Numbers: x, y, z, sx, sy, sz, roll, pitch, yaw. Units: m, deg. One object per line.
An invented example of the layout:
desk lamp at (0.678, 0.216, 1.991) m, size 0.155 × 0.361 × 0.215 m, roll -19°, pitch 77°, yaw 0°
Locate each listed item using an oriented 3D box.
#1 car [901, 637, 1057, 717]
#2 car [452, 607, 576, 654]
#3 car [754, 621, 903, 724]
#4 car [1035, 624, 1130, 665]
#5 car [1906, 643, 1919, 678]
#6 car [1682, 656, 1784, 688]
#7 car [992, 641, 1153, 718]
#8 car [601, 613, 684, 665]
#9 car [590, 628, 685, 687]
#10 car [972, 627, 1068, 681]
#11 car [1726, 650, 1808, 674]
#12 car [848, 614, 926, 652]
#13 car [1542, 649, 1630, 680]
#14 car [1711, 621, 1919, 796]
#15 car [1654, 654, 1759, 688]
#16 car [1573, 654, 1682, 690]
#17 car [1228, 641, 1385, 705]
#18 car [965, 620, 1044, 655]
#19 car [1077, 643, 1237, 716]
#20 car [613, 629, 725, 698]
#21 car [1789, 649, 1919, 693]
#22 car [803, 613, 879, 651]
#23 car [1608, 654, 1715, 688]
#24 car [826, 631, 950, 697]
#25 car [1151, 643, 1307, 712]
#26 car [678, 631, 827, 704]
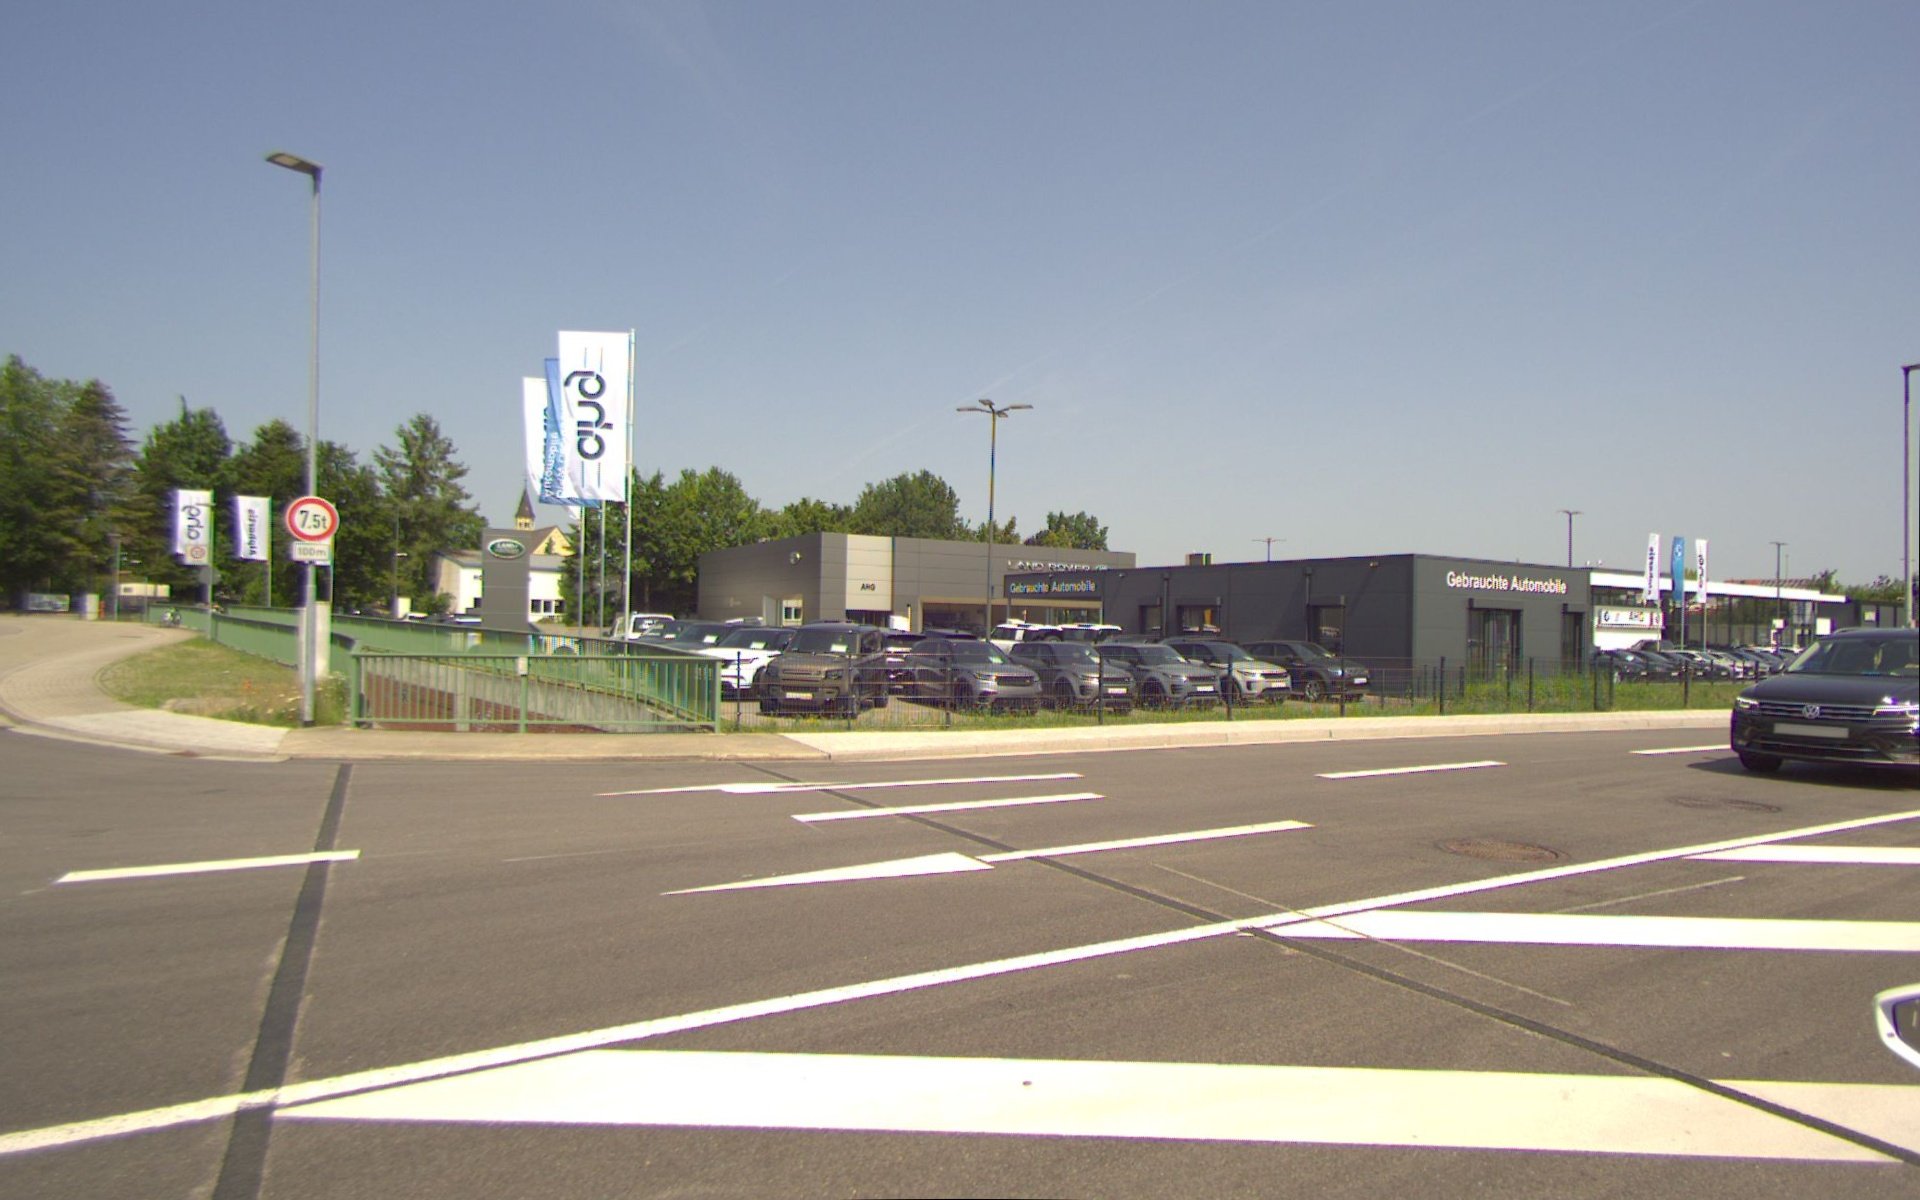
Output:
car at (0.361, 1.738, 23.759) m, size 1.865 × 1.653 × 3.966 m, roll 1°, pitch -2°, yaw -31°
car at (-17.193, 1.176, 38.860) m, size 4.259 × 1.757 × 1.955 m, roll 1°, pitch -1°, yaw -25°
car at (-2.698, 1.455, 21.883) m, size 2.024 × 1.889 × 4.683 m, roll 3°, pitch -1°, yaw 7°
car at (4.693, 1.687, 38.964) m, size 1.667 × 1.440 × 3.817 m, roll 1°, pitch -1°, yaw -31°
car at (45.178, 2.747, 44.845) m, size 1.795 × 1.554 × 3.966 m, roll 1°, pitch -2°, yaw -31°
car at (40.904, 3.787, 53.235) m, size 1.795 × 1.514 × 3.966 m, roll 1°, pitch -2°, yaw -31°
car at (2.689, 1.886, 24.853) m, size 1.955 × 1.653 × 3.966 m, roll 1°, pitch -2°, yaw -31°
car at (-11.689, 1.396, 36.795) m, size 1.945 × 1.757 × 4.281 m, roll 1°, pitch -1°, yaw -31°
car at (-10.105, 1.737, 31.307) m, size 1.955 × 1.687 × 3.966 m, roll 1°, pitch -2°, yaw -31°
car at (2.175, 1.956, 37.335) m, size 1.667 × 1.853 × 3.817 m, roll 1°, pitch -1°, yaw -31°
car at (56.664, 4.335, 70.560) m, size 1.793 × 1.486 × 4.145 m, roll 1°, pitch -2°, yaw -29°
car at (-3.004, 1.327, 40.825) m, size 1.667 × 1.440 × 3.664 m, roll 1°, pitch -1°, yaw -31°
car at (36.178, 3.715, 58.117) m, size 1.795 × 1.607 × 3.966 m, roll 1°, pitch -2°, yaw -31°
car at (10.742, 1.118, 11.570) m, size 4.240 × 1.695 × 1.868 m, roll 2°, pitch -1°, yaw -30°
car at (38.328, 3.624, 51.664) m, size 1.795 × 1.514 × 3.966 m, roll 1°, pitch -2°, yaw -31°
car at (31.746, 3.411, 47.839) m, size 1.795 × 1.500 × 3.966 m, roll 1°, pitch -2°, yaw -31°
car at (9.968, 2.049, 29.180) m, size 1.803 × 1.653 × 4.126 m, roll 1°, pitch -2°, yaw -32°
car at (1.903, 1.615, 43.761) m, size 1.667 × 1.440 × 3.664 m, roll 1°, pitch -1°, yaw -31°
car at (5.063, 1.991, 26.266) m, size 1.955 × 1.653 × 3.966 m, roll 1°, pitch -2°, yaw -31°
car at (-8.035, 1.664, 27.510) m, size 1.955 × 1.687 × 3.966 m, roll 1°, pitch -2°, yaw -31°
car at (34.578, 2.671, 38.469) m, size 1.890 × 1.500 × 3.966 m, roll 1°, pitch -2°, yaw -31°
car at (-4.821, 1.269, 40.505) m, size 1.667 × 1.464 × 3.664 m, roll 1°, pitch -1°, yaw -31°
car at (34.477, 3.464, 49.460) m, size 1.795 × 1.500 × 3.966 m, roll 1°, pitch -2°, yaw -31°
car at (-2.128, 1.748, 28.618) m, size 1.955 × 1.687 × 3.966 m, roll 1°, pitch -2°, yaw -31°
car at (7.293, 2.050, 27.616) m, size 1.944 × 1.653 × 3.969 m, roll 1°, pitch -2°, yaw -29°
car at (-5.038, 1.600, 25.098) m, size 1.888 × 1.582 × 4.512 m, roll 2°, pitch -1°, yaw 13°
